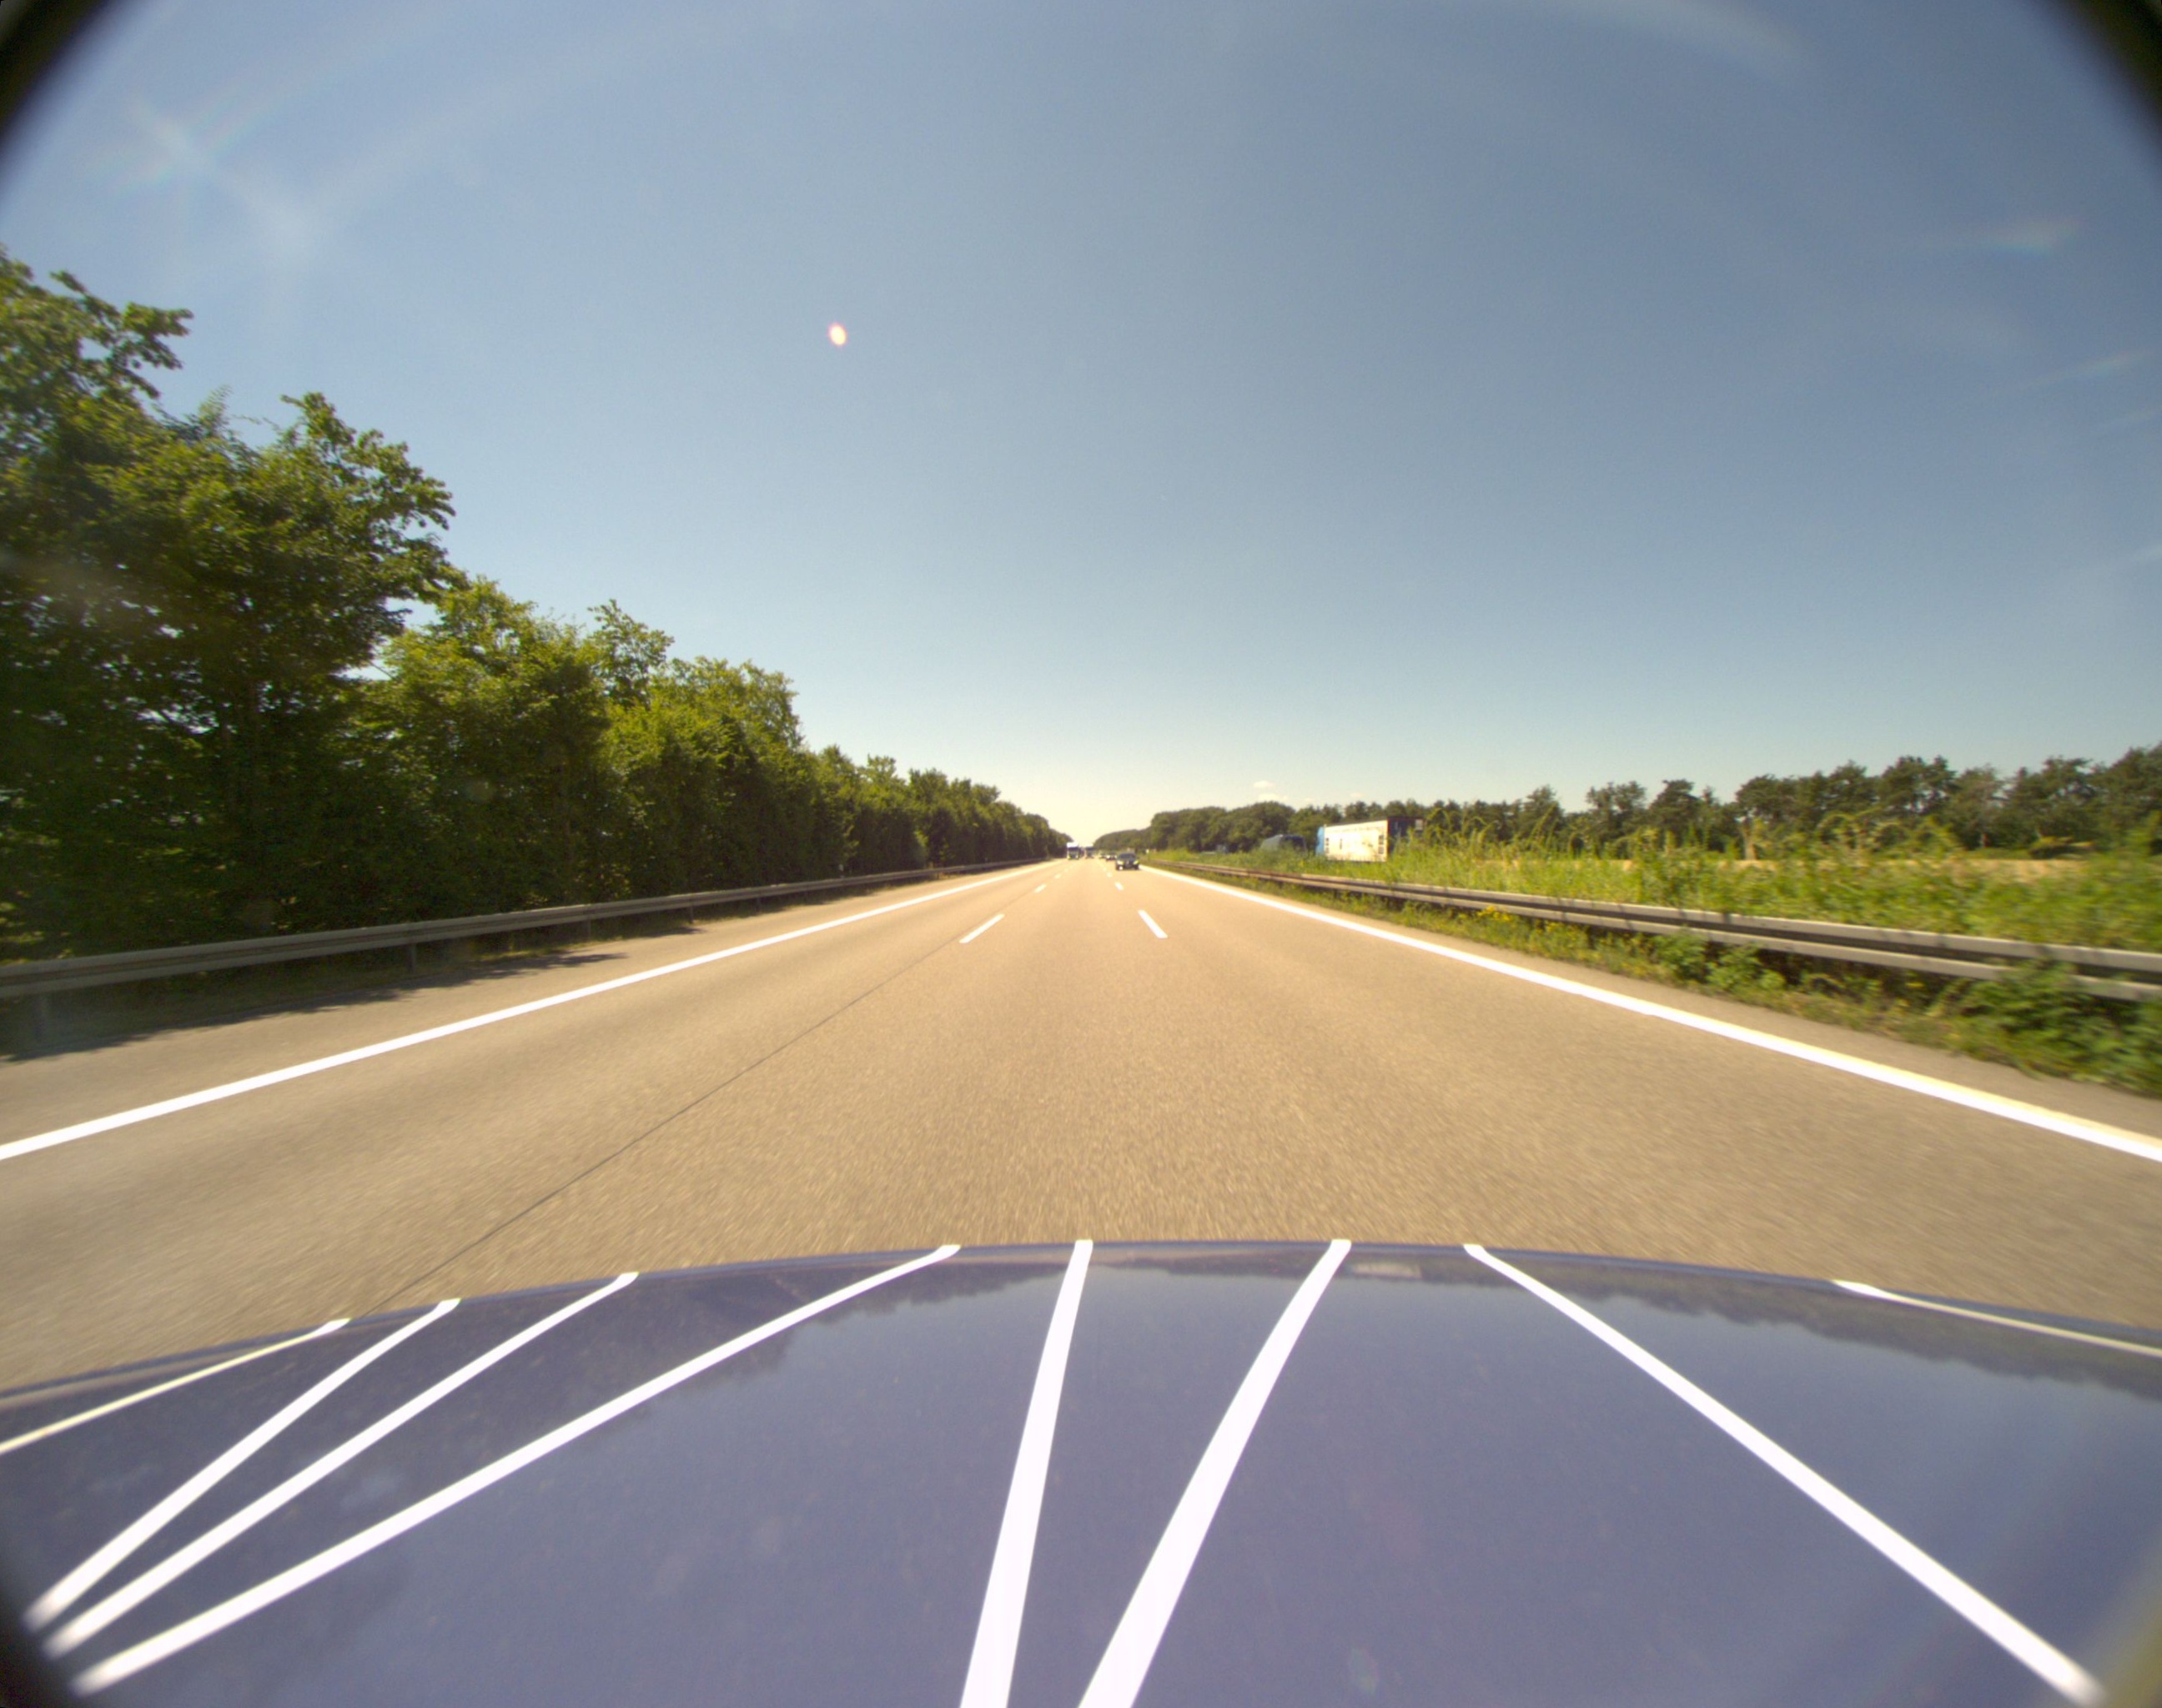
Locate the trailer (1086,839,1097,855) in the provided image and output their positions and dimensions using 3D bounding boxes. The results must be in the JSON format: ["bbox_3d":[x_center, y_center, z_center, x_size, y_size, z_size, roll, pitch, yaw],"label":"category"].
[{"bbox_3d":[2.827,-2.050,211.798,2.863,4.247,11.471,-2,0,0],"label":"trailer"}]

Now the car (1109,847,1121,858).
[{"bbox_3d":[5.497,-0.258,124.704,1.806,1.774,4.000,-1,1,1],"label":"car"}]

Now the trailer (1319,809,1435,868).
[{"bbox_3d":[21.386,-1.022,56.303,3.117,3.677,14.382,-2,0,1],"label":"trailer"}]

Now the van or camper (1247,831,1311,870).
[{"bbox_3d":[16.946,-0.315,65.902,2.617,3.083,11.510,-1,0,1],"label":"van or camper"}]

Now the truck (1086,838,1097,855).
[{"bbox_3d":[2.790,-2.012,205.332,2.863,4.247,5.411,-2,1,0],"label":"truck"}]

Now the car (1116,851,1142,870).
[{"bbox_3d":[3.986,0.523,63.358,1.811,1.399,3.999,-3,1,0],"label":"car"}]

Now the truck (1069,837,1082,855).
[{"bbox_3d":[-1.343,-1.882,180.444,2.863,4.247,6.863,-2,0,-1],"label":"truck"}]

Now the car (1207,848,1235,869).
[{"bbox_3d":[14.080,0.414,76.733,1.998,2.002,4.712,-1,0,1],"label":"car"}]

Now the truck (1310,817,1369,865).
[{"bbox_3d":[21.554,-1.071,63.721,3.117,3.677,5.198,-2,1,1],"label":"truck"}]

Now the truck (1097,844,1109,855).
[{"bbox_3d":[5.133,-1.078,179.658,2.576,2.461,5.614,-2,0,0],"label":"truck"}]
